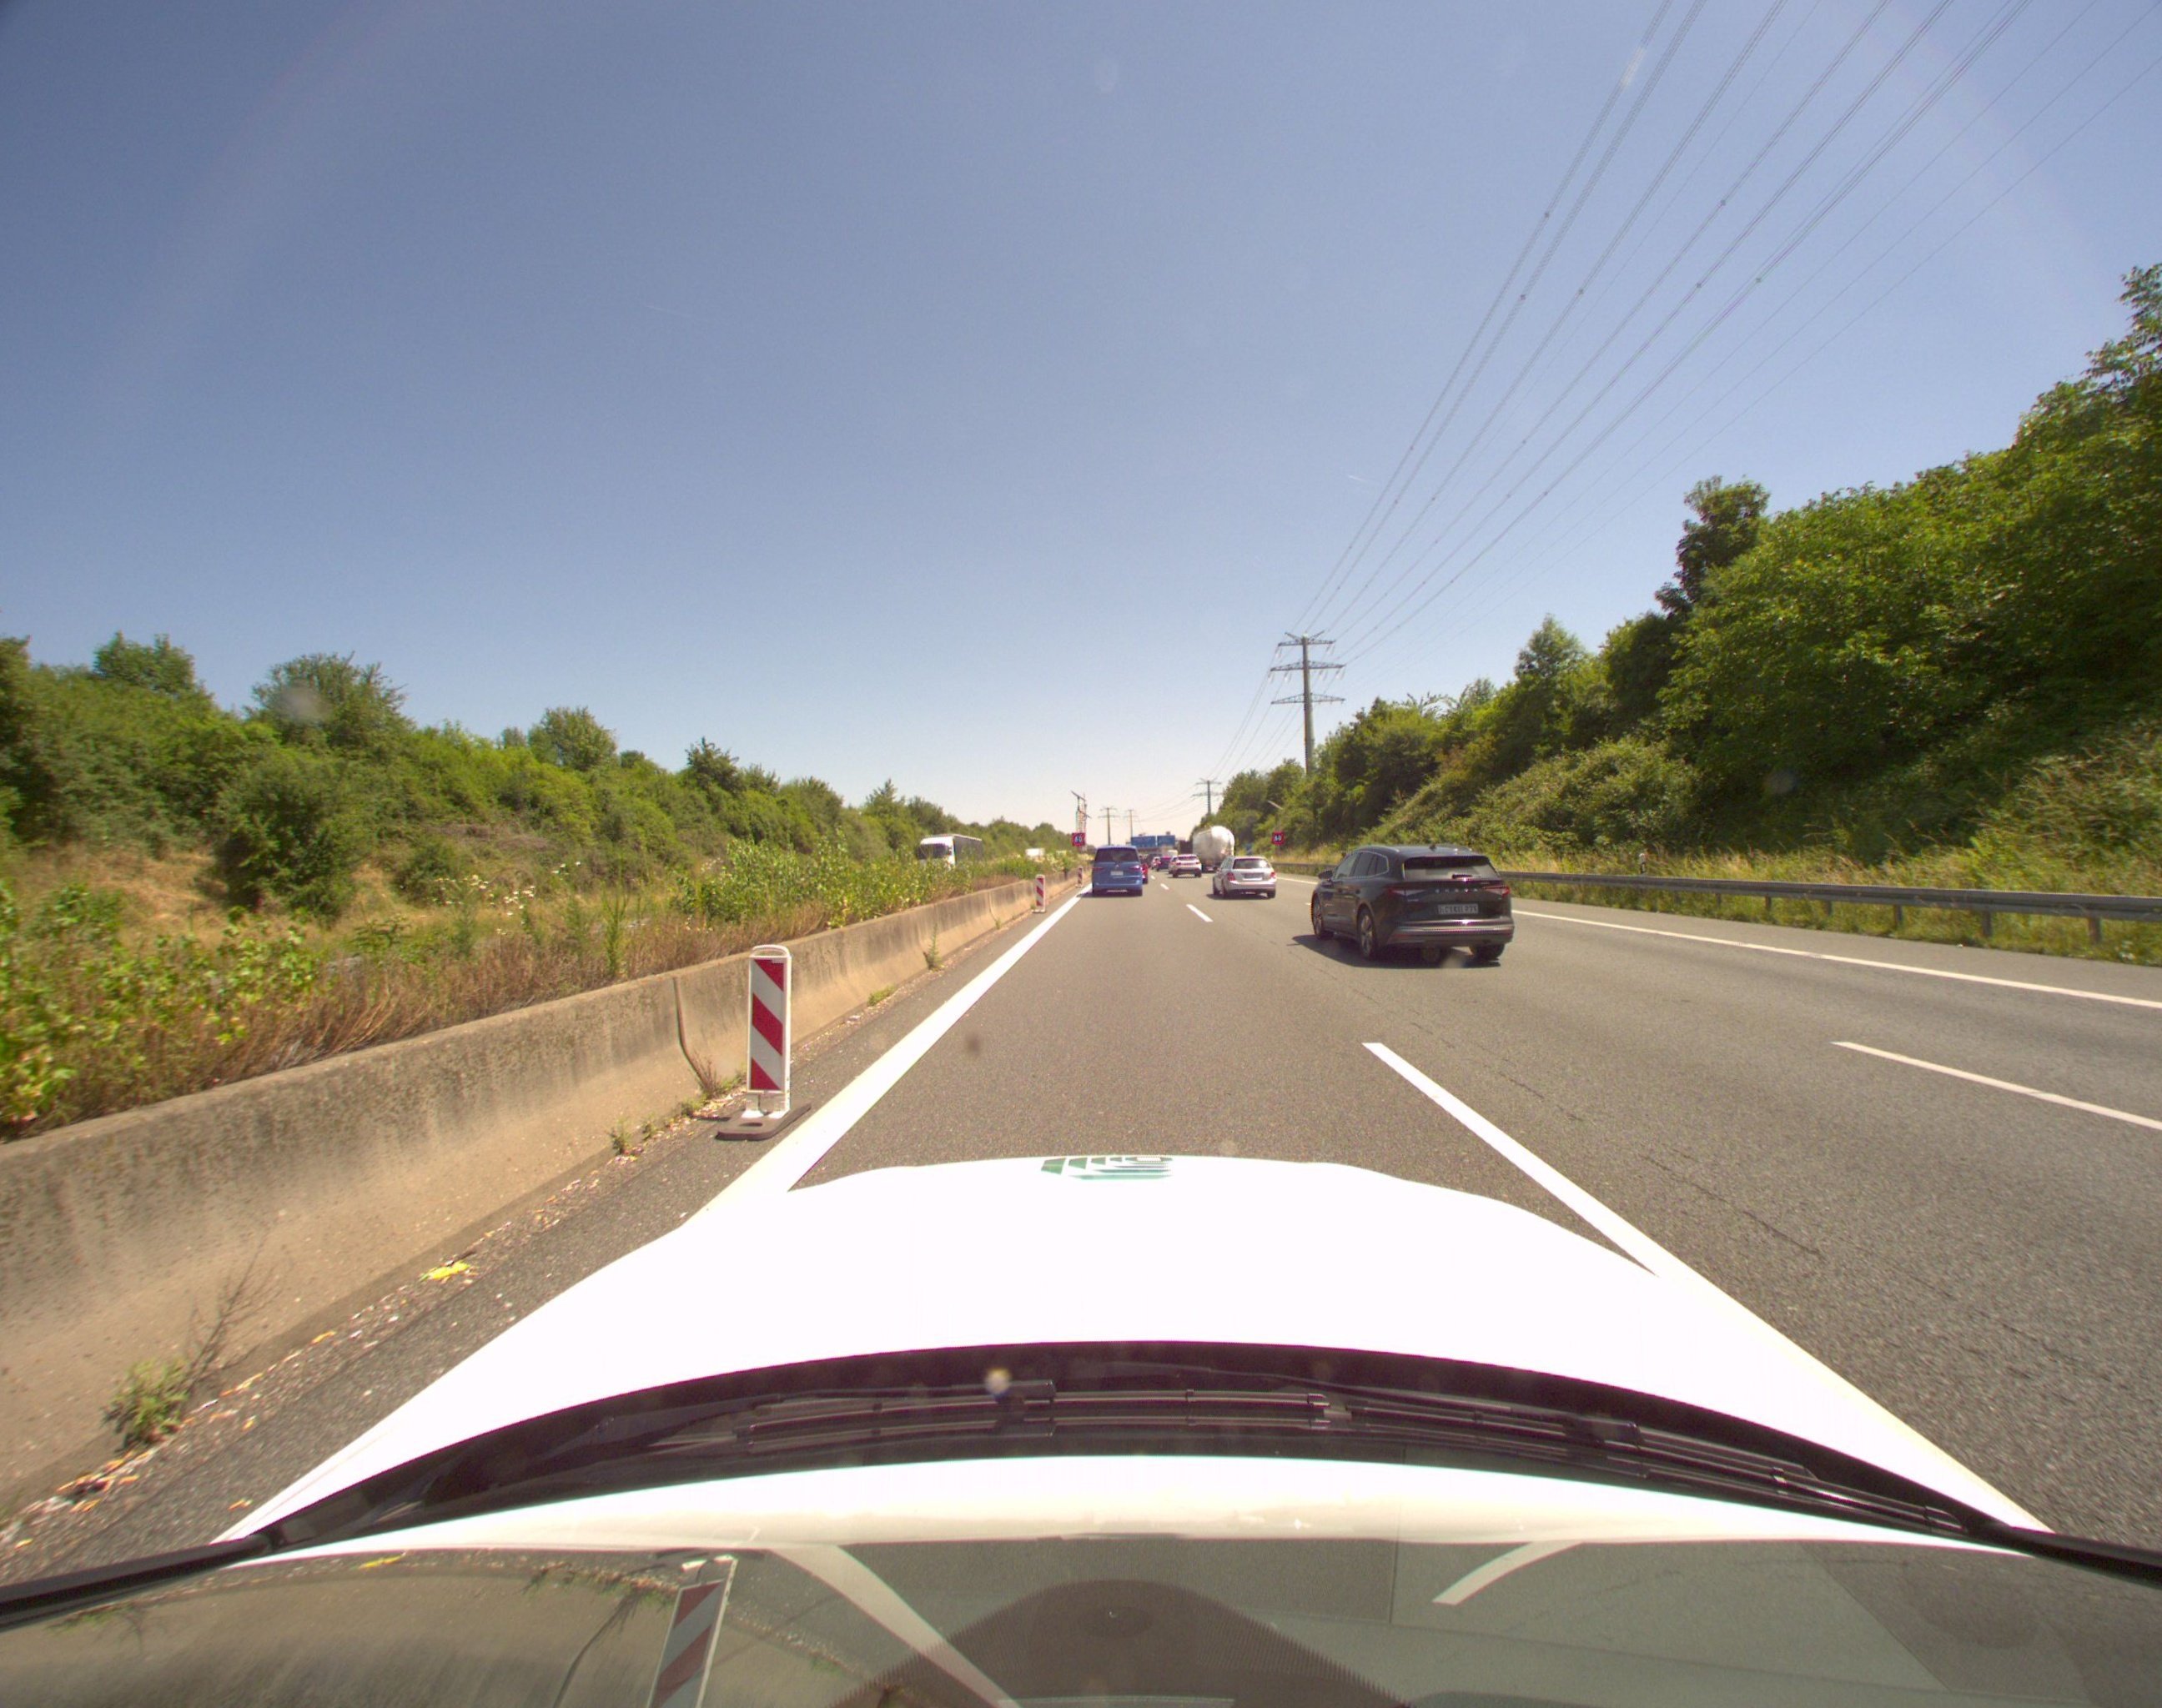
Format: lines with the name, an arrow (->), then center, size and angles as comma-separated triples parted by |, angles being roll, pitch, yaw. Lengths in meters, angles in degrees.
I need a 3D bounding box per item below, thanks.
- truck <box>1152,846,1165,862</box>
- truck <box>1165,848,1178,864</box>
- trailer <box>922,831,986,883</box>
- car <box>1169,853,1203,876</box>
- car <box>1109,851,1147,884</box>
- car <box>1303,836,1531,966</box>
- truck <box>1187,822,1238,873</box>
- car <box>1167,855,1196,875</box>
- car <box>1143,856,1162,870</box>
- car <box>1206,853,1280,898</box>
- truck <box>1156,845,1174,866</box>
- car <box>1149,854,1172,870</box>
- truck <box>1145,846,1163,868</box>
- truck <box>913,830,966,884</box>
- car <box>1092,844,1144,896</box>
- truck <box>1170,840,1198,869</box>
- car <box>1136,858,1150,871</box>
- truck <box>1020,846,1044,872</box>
truck -> 21.720, 0.092, 229.676 | 2.926, 4.291, 12.558 | 0, 0, 2
truck -> 15.845, 0.379, 142.681 | 1.986, 2.723, 5.683 | 0, 0, 2
trailer -> -11.561, 0.268, 75.942 | 2.742, 4.166, 14.207 | -5, 0, 3
car -> 7.079, 0.683, 55.295 | 1.901, 1.508, 3.922 | 0, 0, 1
car -> 2.521, 0.704, 44.214 | 1.901, 1.631, 4.386 | -1, 0, 2
car -> 4.855, 0.596, 12.516 | 1.821, 1.614, 4.433 | -1, 0, 2
truck -> 11.698, -0.469, 74.179 | 2.634, 4.072, 16.449 | 0, 0, 2
car -> 8.213, 0.850, 66.948 | 1.901, 1.569, 4.385 | 0, 0, 1
car -> 8.236, 1.007, 93.786 | 1.901, 1.516, 4.385 | 0, 0, 1
car -> 5.591, 0.695, 28.574 | 1.814, 1.437, 4.385 | 0, 0, 1
truck -> 17.804, 0.250, 172.828 | 2.926, 4.291, 12.558 | 0, 0, 2
car -> 7.773, 0.734, 80.244 | 1.901, 1.516, 4.385 | 0, 0, 1
truck -> 9.494, 0.428, 105.980 | 1.986, 2.723, 5.683 | 0, 0, 2
truck -> -11.883, 0.237, 69.144 | 2.740, 4.166, 6.415 | -5, -1, 3
car -> 1.380, 0.584, 31.624 | 1.864, 1.879, 4.384 | 0, 0, 1
truck -> 13.390, 0.122, 106.853 | 2.634, 3.539, 12.558 | 0, 0, 2
car -> 9.801, 1.642, 128.607 | 1.986, 2.014, 4.002 | 0, 0, 2
truck -> -8.022, 0.851, 134.865 | 2.751, 3.888, 9.035 | -5, 0, 3
